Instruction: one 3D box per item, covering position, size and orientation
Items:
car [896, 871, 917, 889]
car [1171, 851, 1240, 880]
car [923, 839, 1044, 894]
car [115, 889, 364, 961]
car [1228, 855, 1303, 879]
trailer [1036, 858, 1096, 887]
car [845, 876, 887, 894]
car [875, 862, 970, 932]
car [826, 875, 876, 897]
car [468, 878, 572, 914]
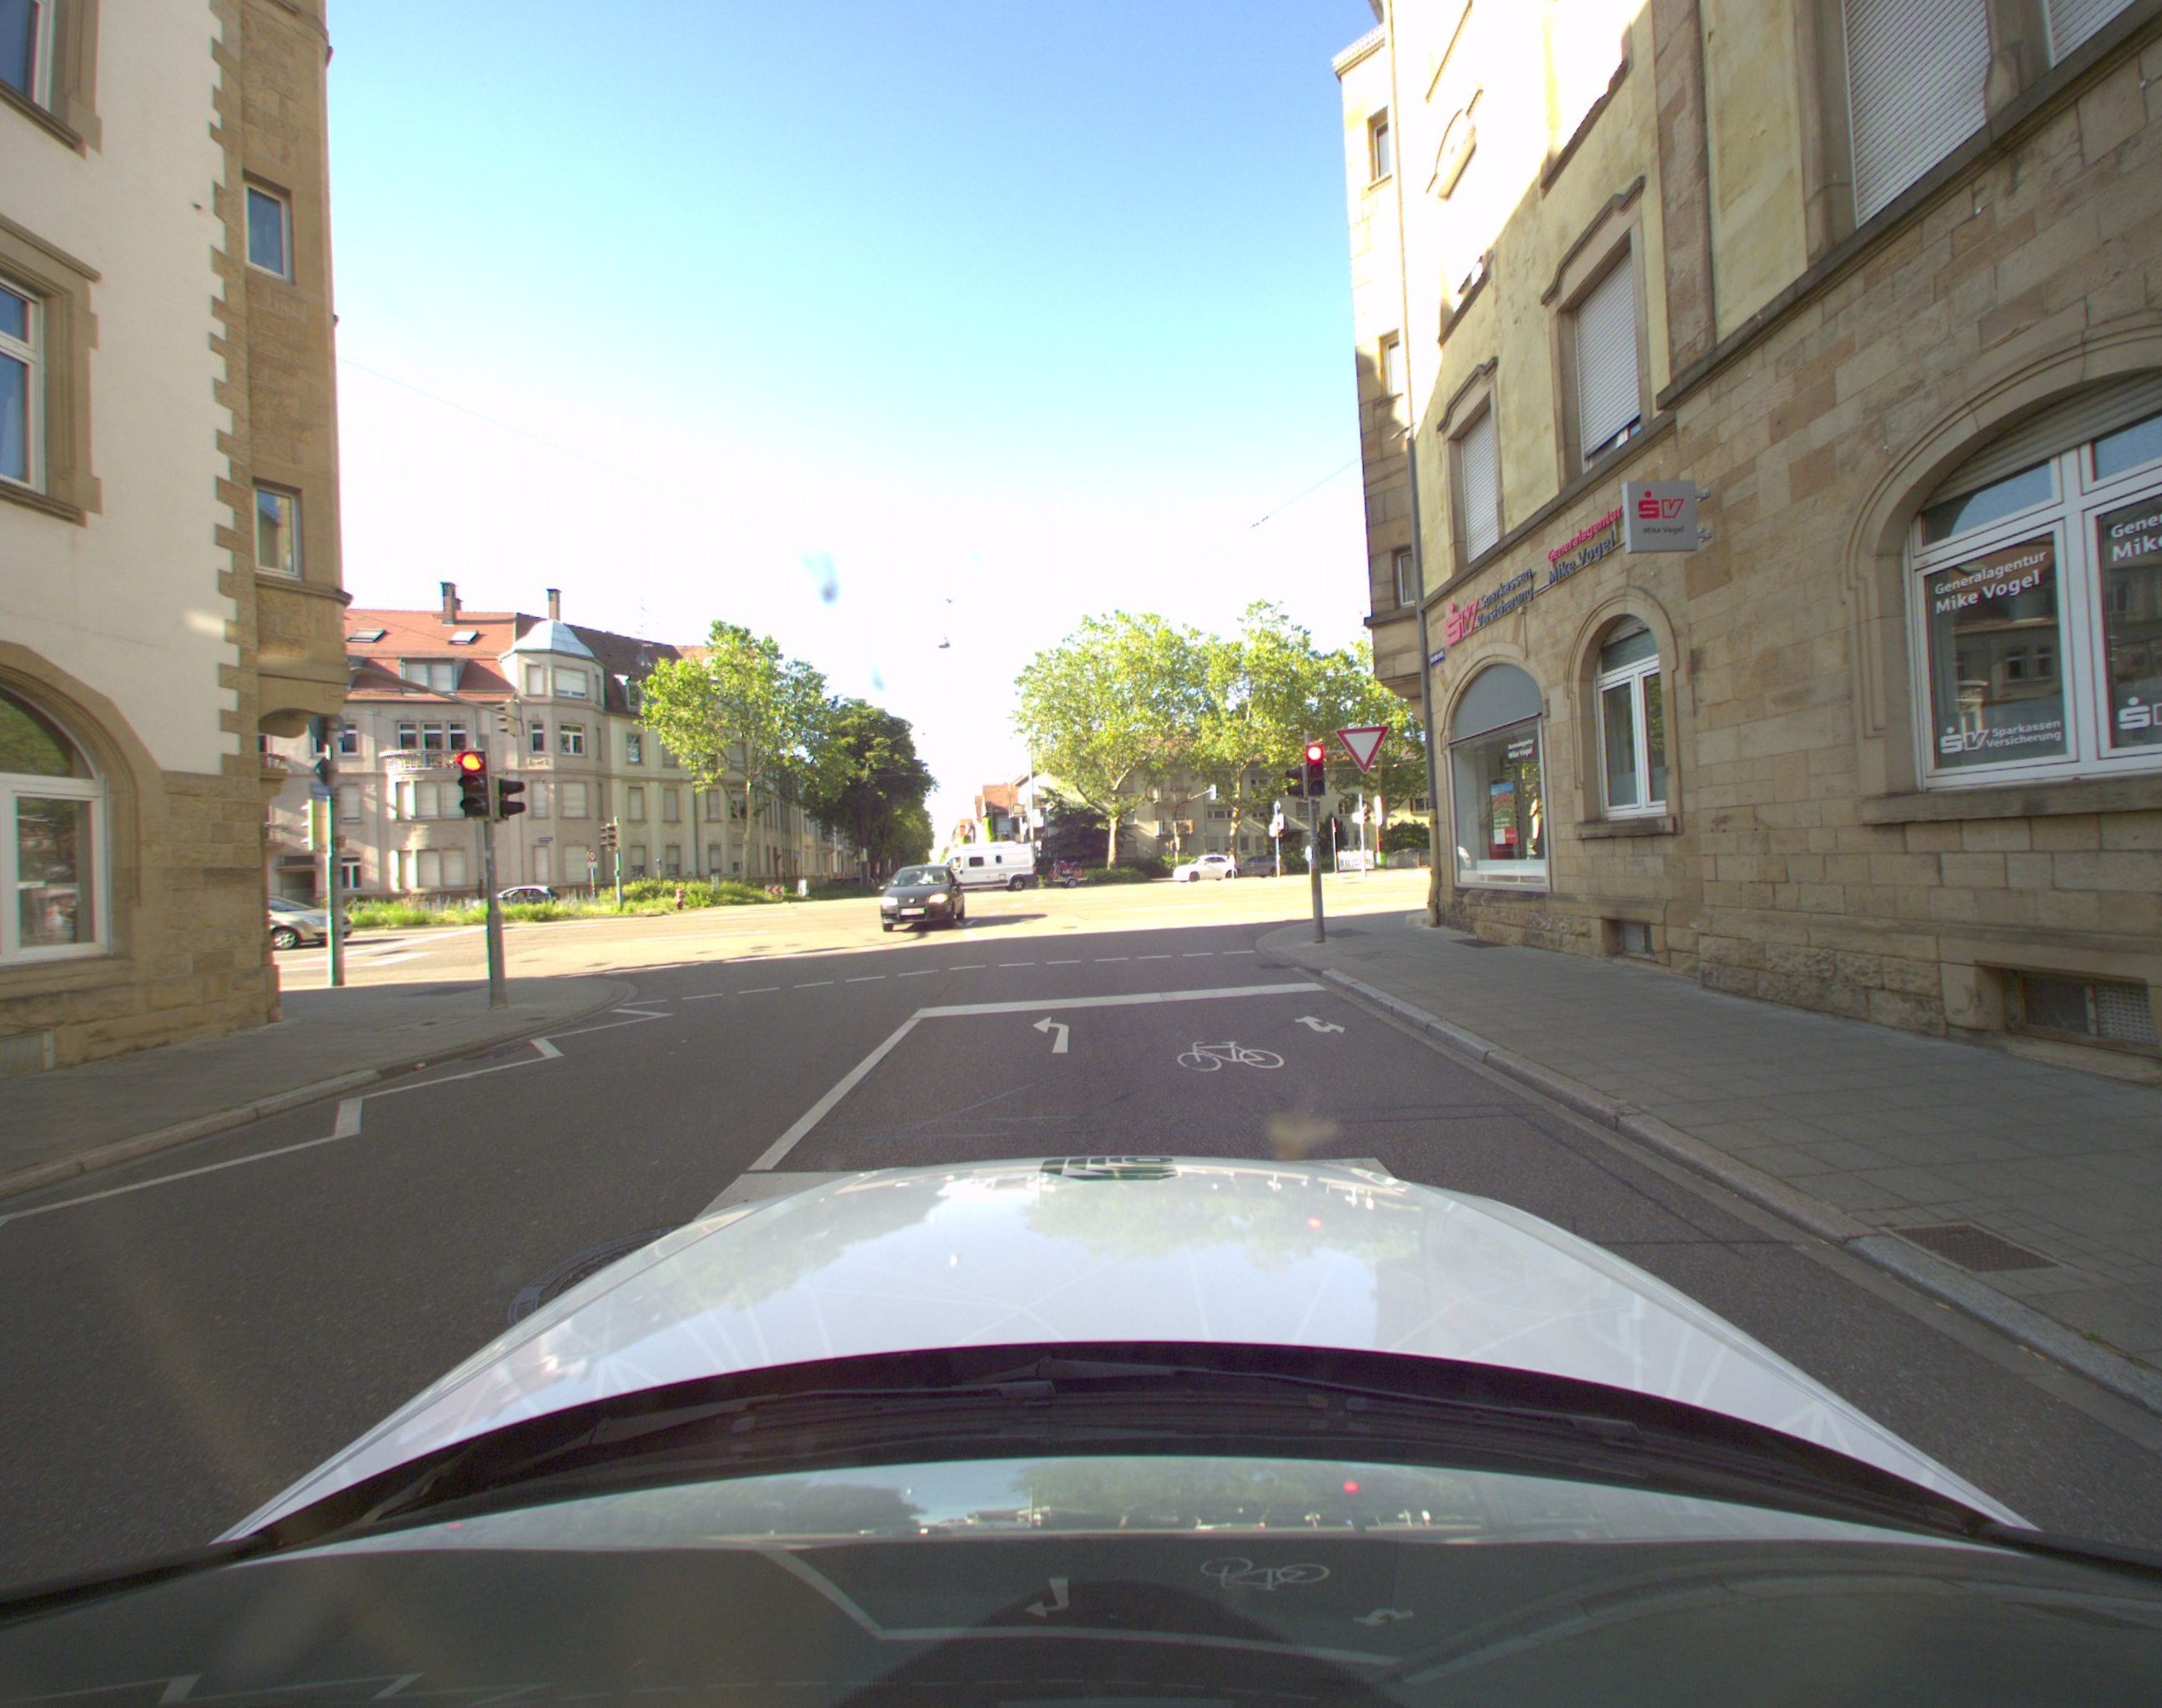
[{"bbox_3d":[-16.047,2.379,74.981,1.698,1.483,3.522,-4,0,-10],"label":"car"},{"bbox_3d":[7.219,0.663,47.105,3.641,1.457,1.494,-2,0,-18],"label":"car"},{"bbox_3d":[-5.190,0.637,43.468,6.123,2.637,1.884,-2,-1,-17],"label":"car"},{"bbox_3d":[-21.917,1.815,21.423,4.212,1.456,1.669,-3,0,-17],"label":"car"},{"bbox_3d":[11.777,0.805,52.006,4.399,1.316,1.636,-2,0,-18],"label":"car"},{"bbox_3d":[-0.842,1.021,44.928,2.955,1.457,1.505,-2,0,-18],"label":"trailer"},{"bbox_3d":[-19.723,2.815,74.830,3.636,1.457,1.650,-2,0,-14],"label":"car"},{"bbox_3d":[-3.696,0.947,19.562,1.648,1.457,3.640,-2,0,-2],"label":"car"},{"bbox_3d":[-17.945,2.475,63.724,3.636,1.457,1.650,-2,0,-14],"label":"car"},{"bbox_3d":[-26.212,1.927,38.186,3.643,1.457,1.646,-2,0,-20],"label":"car"}]
